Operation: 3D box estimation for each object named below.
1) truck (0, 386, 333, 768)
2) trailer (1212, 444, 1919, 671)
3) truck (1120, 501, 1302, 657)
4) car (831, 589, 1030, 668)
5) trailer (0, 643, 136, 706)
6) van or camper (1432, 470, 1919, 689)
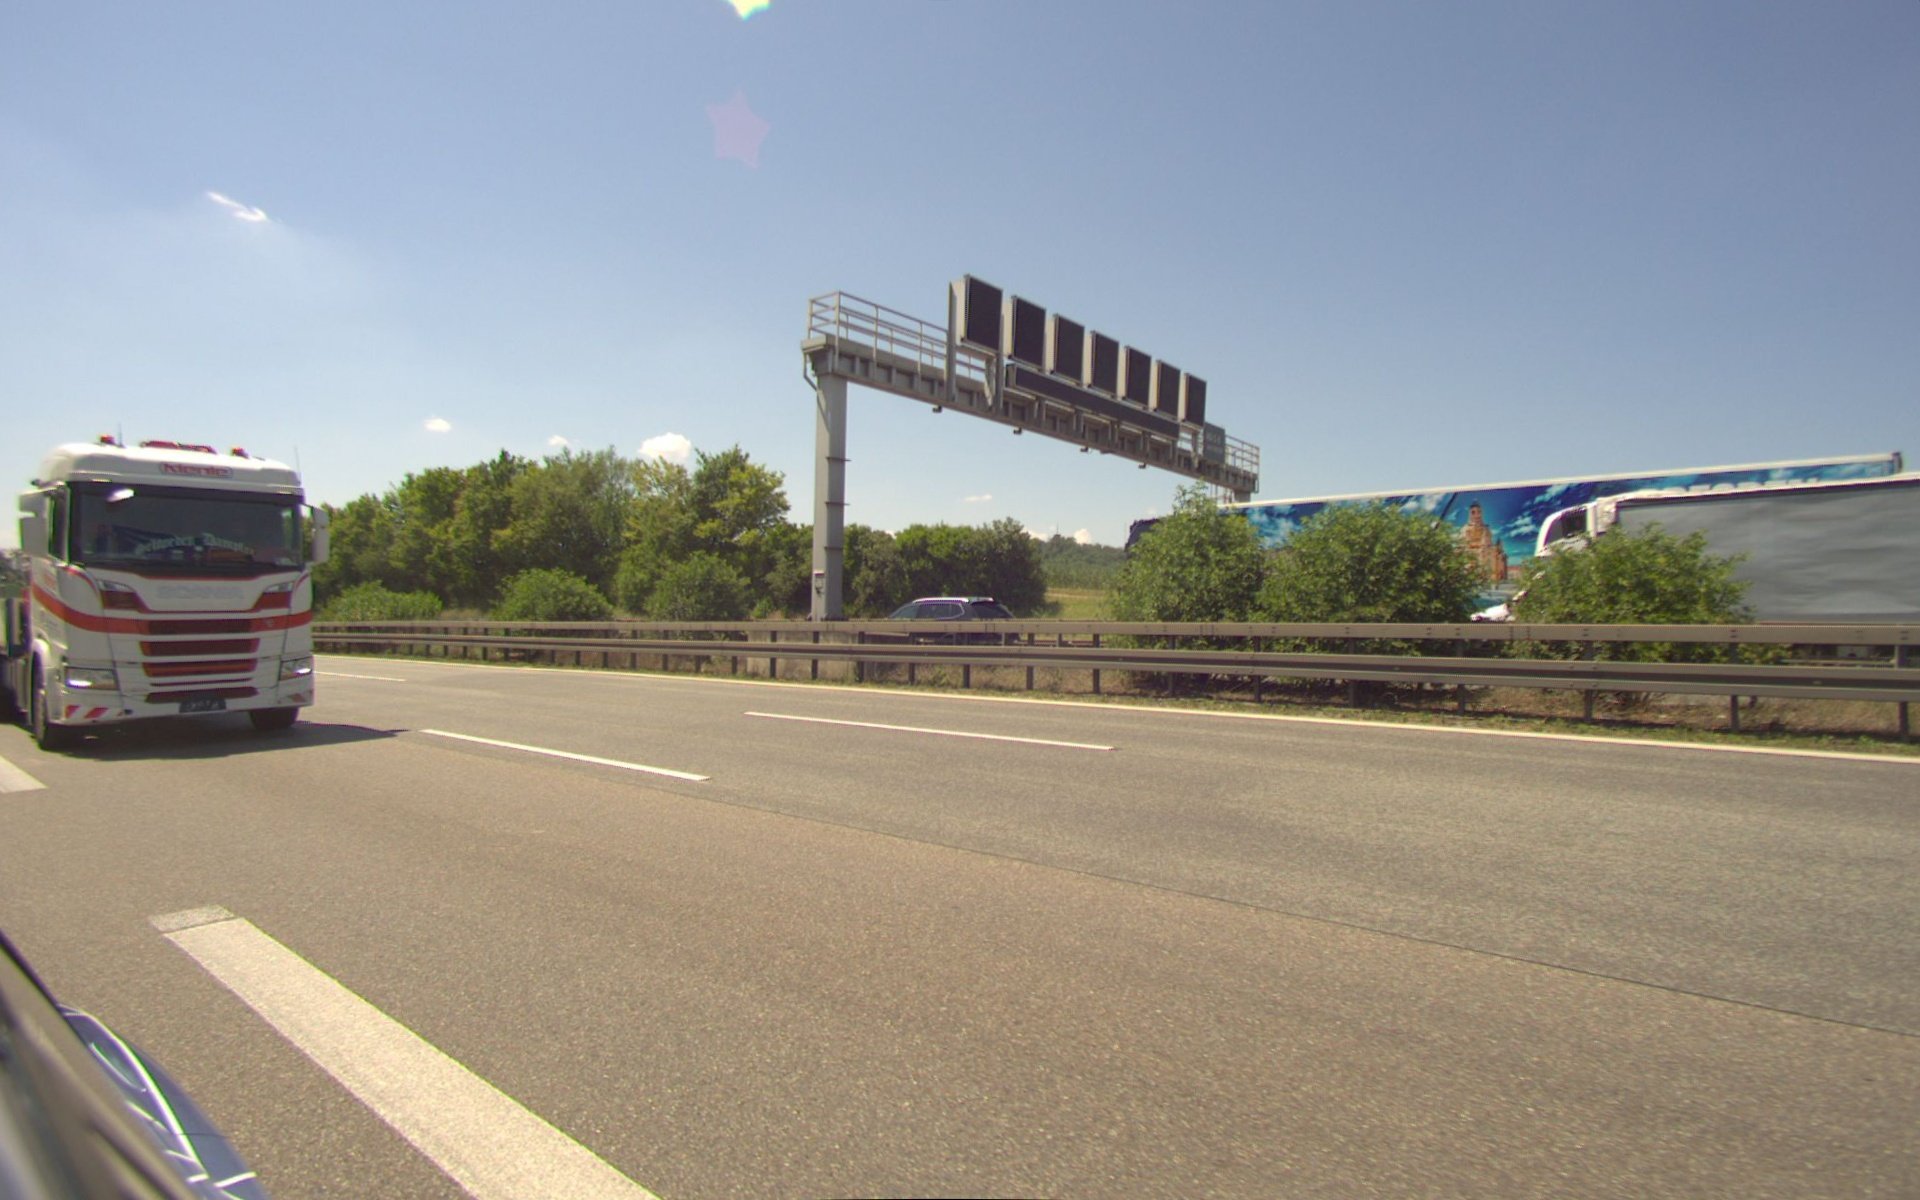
[{"bbox_3d":[-12.459,-0.151,14.675,10.665,3.831,2.686,-1,-1,41],"label":"truck"},{"bbox_3d":[12.504,-0.628,22.524,13.994,3.952,1.973,-1,-1,41],"label":"trailer"},{"bbox_3d":[6.771,-0.495,27.529,4.339,3.926,1.973,-1,-1,41],"label":"truck"},{"bbox_3d":[-0.814,0.678,25.195,4.825,1.766,2.094,-1,-1,41],"label":"car"},{"bbox_3d":[-19.377,1.439,20.657,7.755,0.941,2.686,-1,-1,41],"label":"trailer"},{"bbox_3d":[12.864,-0.256,17.878,7.818,3.245,2.449,-1,-1,41],"label":"van or camper"}]
